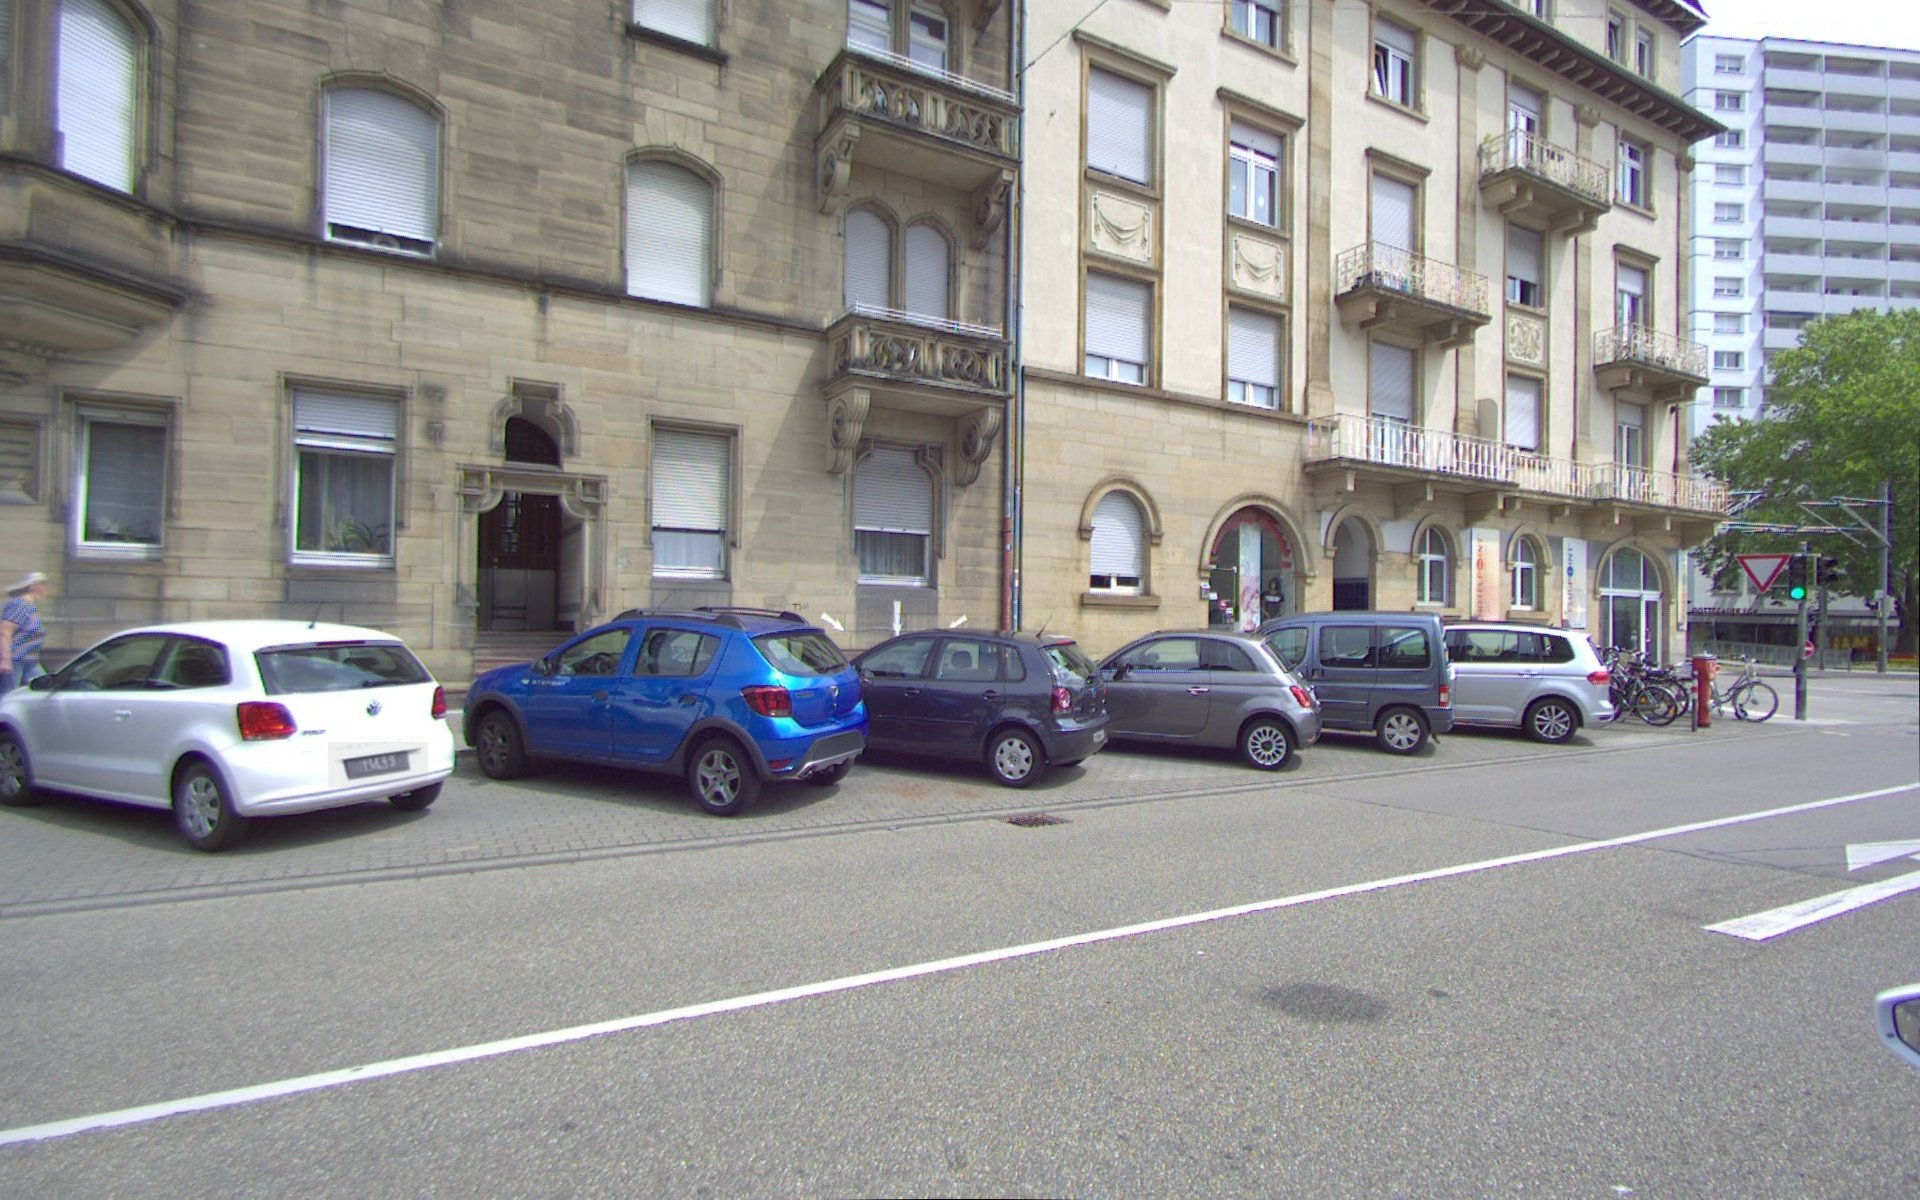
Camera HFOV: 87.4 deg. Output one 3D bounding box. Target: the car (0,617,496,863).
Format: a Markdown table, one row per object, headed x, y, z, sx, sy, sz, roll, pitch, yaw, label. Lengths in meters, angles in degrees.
| x | y | z | sx | sy | sz | roll | pitch | yaw | label |
| --- | --- | --- | --- | --- | --- | --- | --- | --- | --- |
| -5.605 | 0.893 | 7.744 | 3.616 | 1.501 | 1.741 | 0 | -1 | 25 | car |

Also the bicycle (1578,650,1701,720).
| x | y | z | sx | sy | sz | roll | pitch | yaw | label |
| --- | --- | --- | --- | --- | --- | --- | --- | --- | --- |
| 12.718 | 1.561 | 18.838 | 0.588 | 1.135 | 1.796 | 1 | 1 | -37 | bicycle |

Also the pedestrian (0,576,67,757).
| x | y | z | sx | sy | sz | roll | pitch | yaw | label |
| --- | --- | --- | --- | --- | --- | --- | --- | --- | --- |
| -8.880 | 0.595 | 9.353 | 0.671 | 1.616 | 0.787 | 1 | 1 | -30 | pedestrian |

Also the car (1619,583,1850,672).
| x | y | z | sx | sy | sz | roll | pitch | yaw | label |
| --- | --- | --- | --- | --- | --- | --- | --- | --- | --- |
| 38.129 | 1.342 | 50.186 | 3.389 | 3.967 | 9.911 | 0 | -1 | -5 | car |

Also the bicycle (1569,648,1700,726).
| x | y | z | sx | sy | sz | roll | pitch | yaw | label |
| --- | --- | --- | --- | --- | --- | --- | --- | --- | --- |
| 11.863 | 1.497 | 17.712 | 0.588 | 1.182 | 1.796 | 1 | 1 | -37 | bicycle |

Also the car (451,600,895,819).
| x | y | z | sx | sy | sz | roll | pitch | yaw | label |
| --- | --- | --- | --- | --- | --- | --- | --- | --- | --- |
| -2.644 | 0.863 | 9.276 | 3.706 | 1.673 | 1.723 | 0 | -1 | 24 | car |

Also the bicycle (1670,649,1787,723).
| x | y | z | sx | sy | sz | roll | pitch | yaw | label |
| --- | --- | --- | --- | --- | --- | --- | --- | --- | --- |
| 14.135 | 1.557 | 18.550 | 0.489 | 1.182 | 1.878 | 2 | 0 | -9 | bicycle |

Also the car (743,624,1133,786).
| x | y | z | sx | sy | sz | roll | pitch | yaw | label |
| --- | --- | --- | --- | --- | --- | --- | --- | --- | --- |
| -0.234 | 1.012 | 10.931 | 3.830 | 1.463 | 1.836 | 0 | -1 | 25 | car |

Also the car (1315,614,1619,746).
| x | y | z | sx | sy | sz | roll | pitch | yaw | label |
| --- | --- | --- | --- | --- | --- | --- | --- | --- | --- |
| 7.543 | 1.129 | 15.345 | 3.934 | 1.797 | 1.796 | 0 | -1 | 22 | car |

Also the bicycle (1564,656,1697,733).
| x | y | z | sx | sy | sz | roll | pitch | yaw | label |
| --- | --- | --- | --- | --- | --- | --- | --- | --- | --- |
| 10.975 | 1.524 | 16.509 | 0.586 | 1.135 | 1.805 | 1 | -2 | -23 | bicycle |

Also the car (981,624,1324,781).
| x | y | z | sx | sy | sz | roll | pitch | yaw | label |
| --- | --- | --- | --- | --- | --- | --- | --- | --- | --- |
| 2.416 | 1.151 | 12.516 | 3.934 | 1.673 | 1.796 | 0 | -1 | 22 | car |

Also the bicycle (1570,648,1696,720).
| x | y | z | sx | sy | sz | roll | pitch | yaw | label |
| --- | --- | --- | --- | --- | --- | --- | --- | --- | --- |
| 12.226 | 1.505 | 18.305 | 0.588 | 1.135 | 1.796 | 1 | 1 | -37 | bicycle |

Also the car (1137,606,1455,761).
| x | y | z | sx | sy | sz | roll | pitch | yaw | label |
| --- | --- | --- | --- | --- | --- | --- | --- | --- | --- |
| 4.597 | 1.057 | 13.939 | 3.934 | 1.903 | 1.796 | 0 | -1 | 22 | car |

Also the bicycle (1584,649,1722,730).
| x | y | z | sx | sy | sz | roll | pitch | yaw | label |
| --- | --- | --- | --- | --- | --- | --- | --- | --- | --- |
| 11.539 | 1.458 | 16.793 | 0.586 | 1.135 | 1.803 | 1 | 2 | -25 | bicycle |
